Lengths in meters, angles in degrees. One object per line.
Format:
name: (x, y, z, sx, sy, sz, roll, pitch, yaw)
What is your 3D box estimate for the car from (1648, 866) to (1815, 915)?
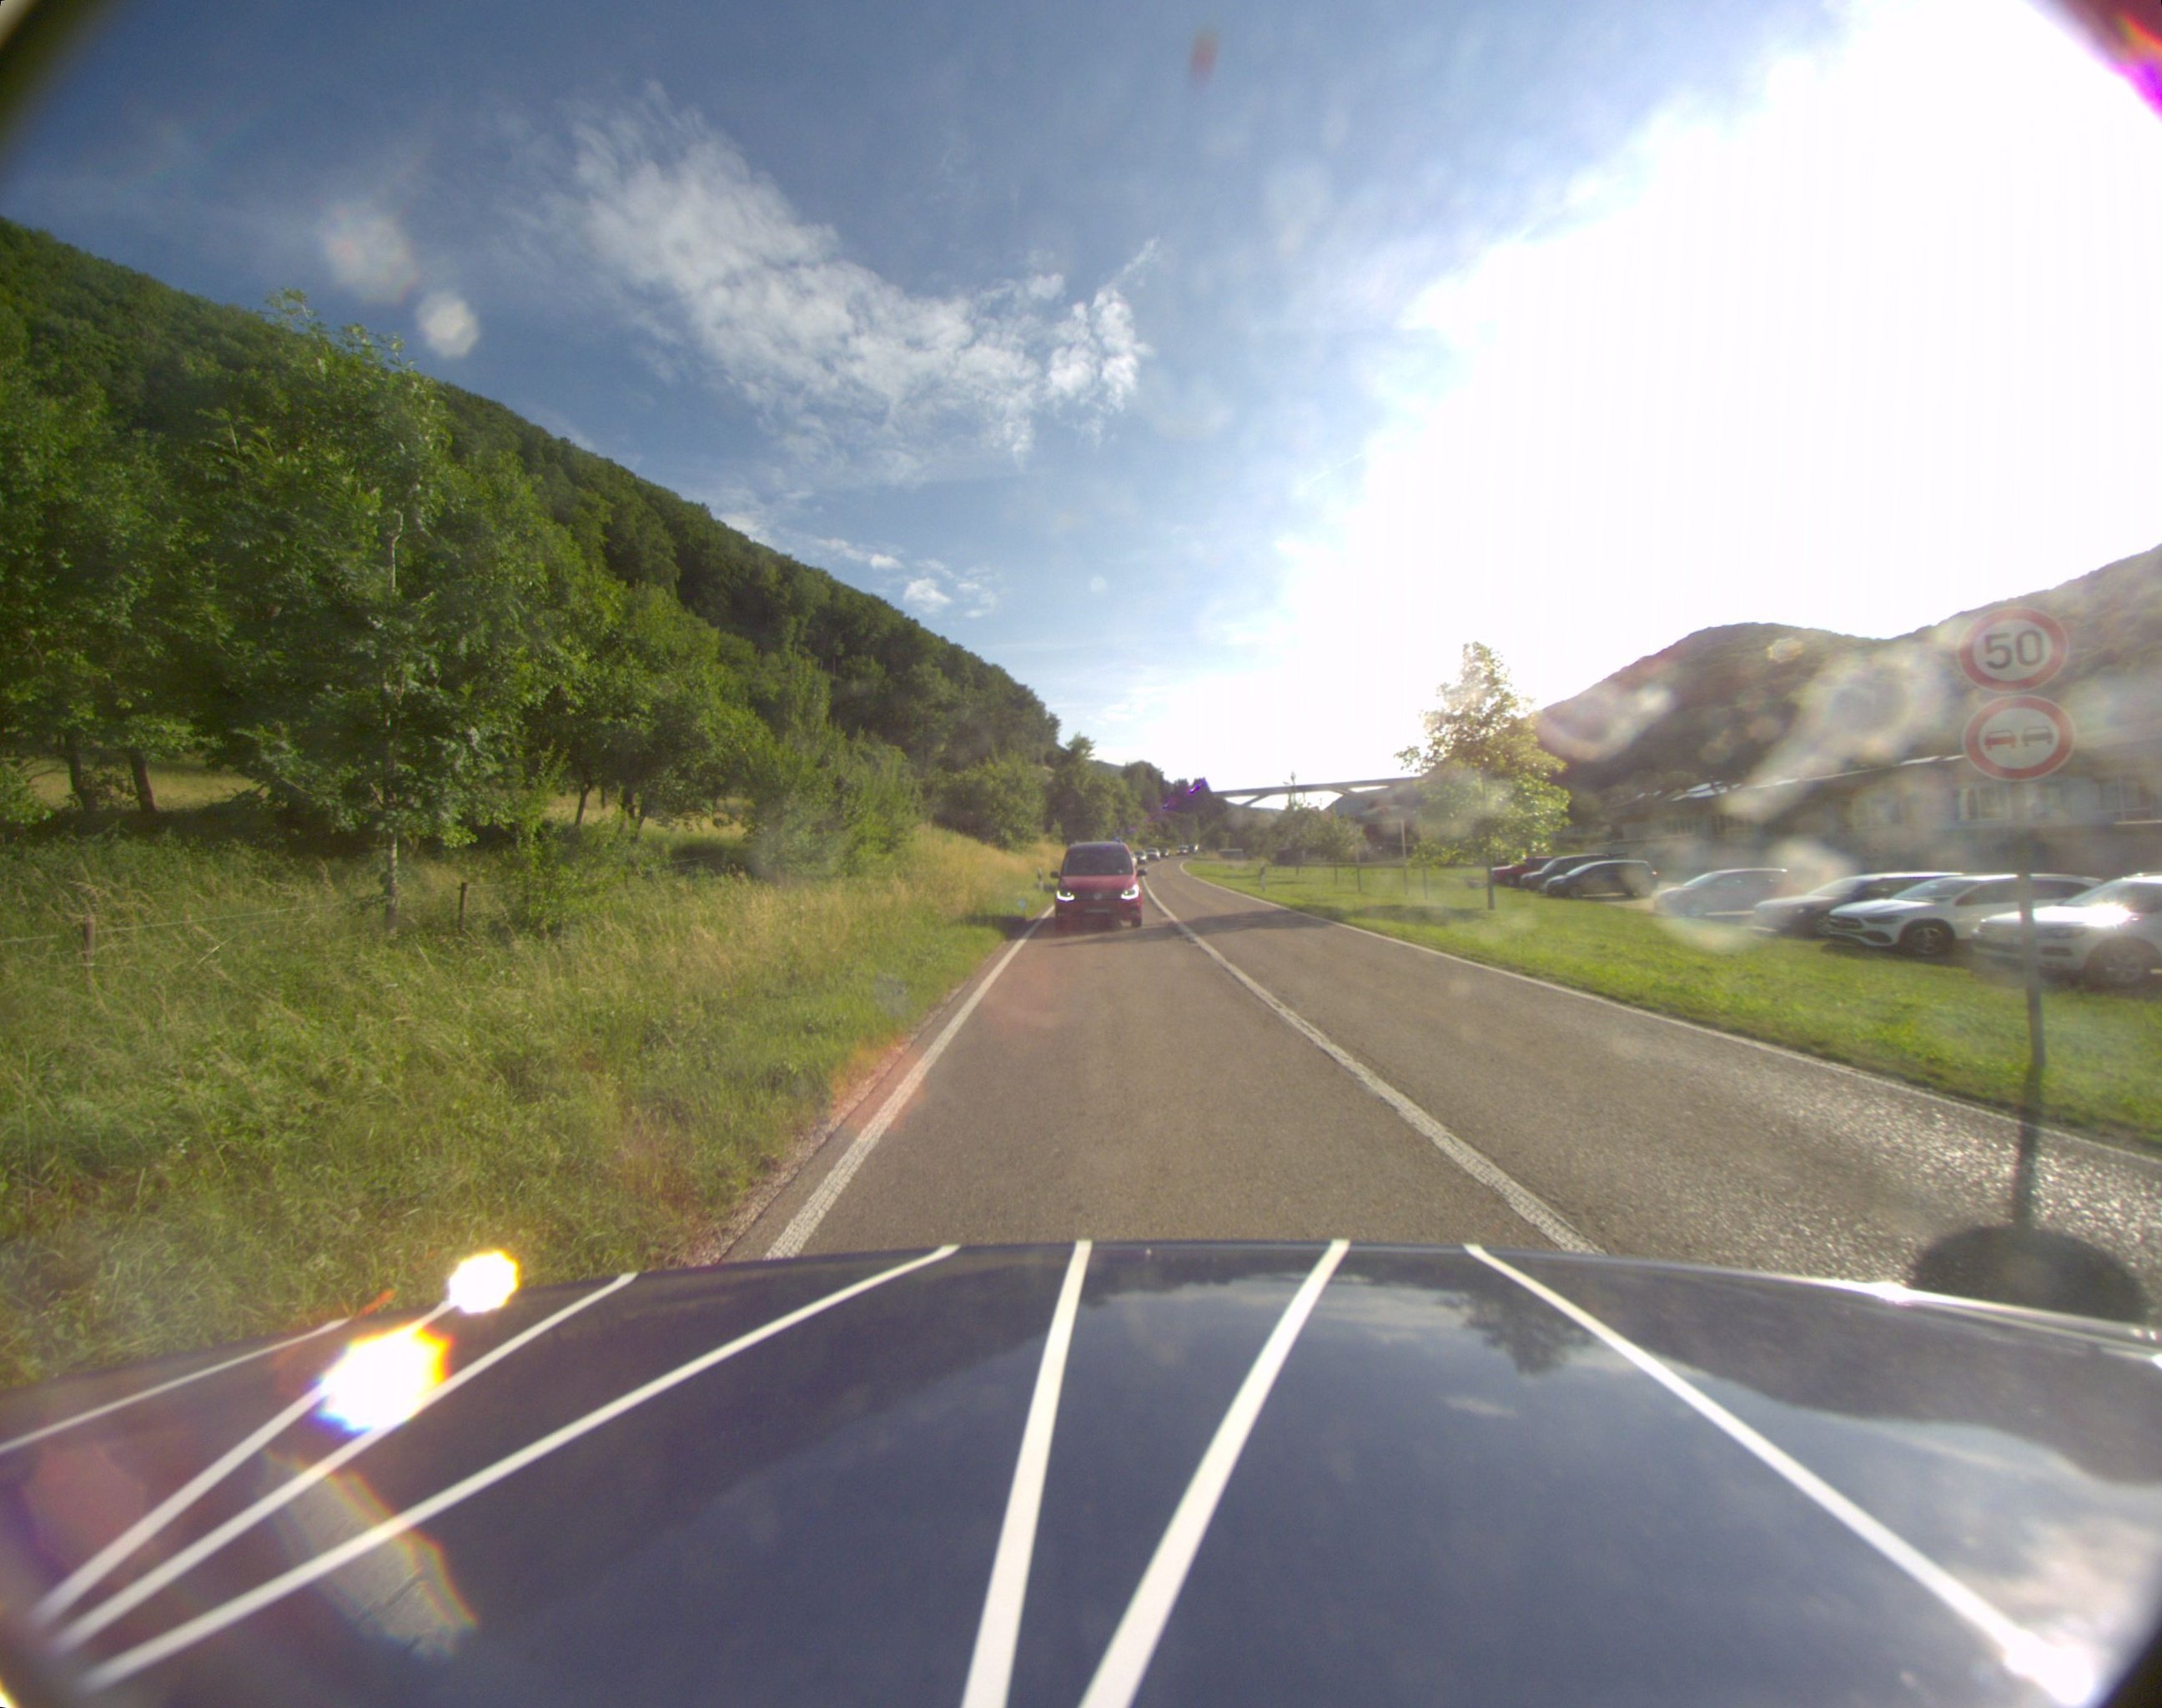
car: (20.627, 1.159, 24.241, 3.726, 1.390, 1.617, -2, 1, 13)

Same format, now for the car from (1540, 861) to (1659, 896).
car: (23.027, 1.084, 33.862, 4.014, 1.443, 1.686, -2, -1, 12)

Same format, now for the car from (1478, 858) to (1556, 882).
car: (27.279, 1.003, 47.672, 3.892, 1.361, 1.854, -1, 2, 14)

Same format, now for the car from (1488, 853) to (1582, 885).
car: (25.992, 0.871, 43.678, 4.326, 1.660, 1.850, -2, 1, 18)

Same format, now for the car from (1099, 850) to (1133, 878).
car: (2.146, 0.563, 45.866, 1.629, 1.470, 3.681, -2, 1, 9)

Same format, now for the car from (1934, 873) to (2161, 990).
car: (18.005, 1.249, 12.782, 4.545, 1.693, 2.002, -2, 1, 13)

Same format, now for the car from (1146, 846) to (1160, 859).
car: (9.008, -0.210, 95.433, 1.629, 1.470, 3.680, -2, 1, 5)

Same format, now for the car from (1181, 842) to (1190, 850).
car: (18.580, -1.430, 135.139, 1.629, 1.470, 3.681, -2, 1, 8)

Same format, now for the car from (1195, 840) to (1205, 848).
car: (23.130, -1.905, 147.605, 1.628, 1.470, 3.682, -2, 1, 13)

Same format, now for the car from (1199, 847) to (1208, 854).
car: (25.005, -0.734, 155.401, 1.628, 1.470, 3.682, -2, 1, 13)

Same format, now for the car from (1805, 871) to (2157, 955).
car: (18.838, 1.234, 16.197, 4.545, 1.546, 2.002, -2, 1, 13)

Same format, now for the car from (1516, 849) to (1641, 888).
car: (25.046, 0.725, 38.447, 4.999, 1.783, 1.686, -2, 1, 12)

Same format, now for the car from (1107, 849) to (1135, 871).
car: (3.013, 0.404, 56.755, 1.629, 1.470, 3.681, -2, 1, 9)

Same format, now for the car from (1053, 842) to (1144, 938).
car: (0.494, 0.668, 16.469, 1.648, 1.762, 4.001, -2, 1, 5)

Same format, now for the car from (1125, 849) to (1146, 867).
car: (4.807, 0.339, 66.736, 1.629, 1.470, 3.680, -2, 1, 5)

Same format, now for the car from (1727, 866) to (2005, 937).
car: (19.652, 1.178, 19.287, 4.545, 1.546, 2.002, -2, 1, 13)

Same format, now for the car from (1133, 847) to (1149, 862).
car: (6.401, -0.012, 80.865, 1.629, 1.470, 3.680, -2, 1, 5)

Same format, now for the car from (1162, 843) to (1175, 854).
car: (13.372, -0.867, 115.997, 1.628, 1.470, 3.682, -2, 1, 13)
